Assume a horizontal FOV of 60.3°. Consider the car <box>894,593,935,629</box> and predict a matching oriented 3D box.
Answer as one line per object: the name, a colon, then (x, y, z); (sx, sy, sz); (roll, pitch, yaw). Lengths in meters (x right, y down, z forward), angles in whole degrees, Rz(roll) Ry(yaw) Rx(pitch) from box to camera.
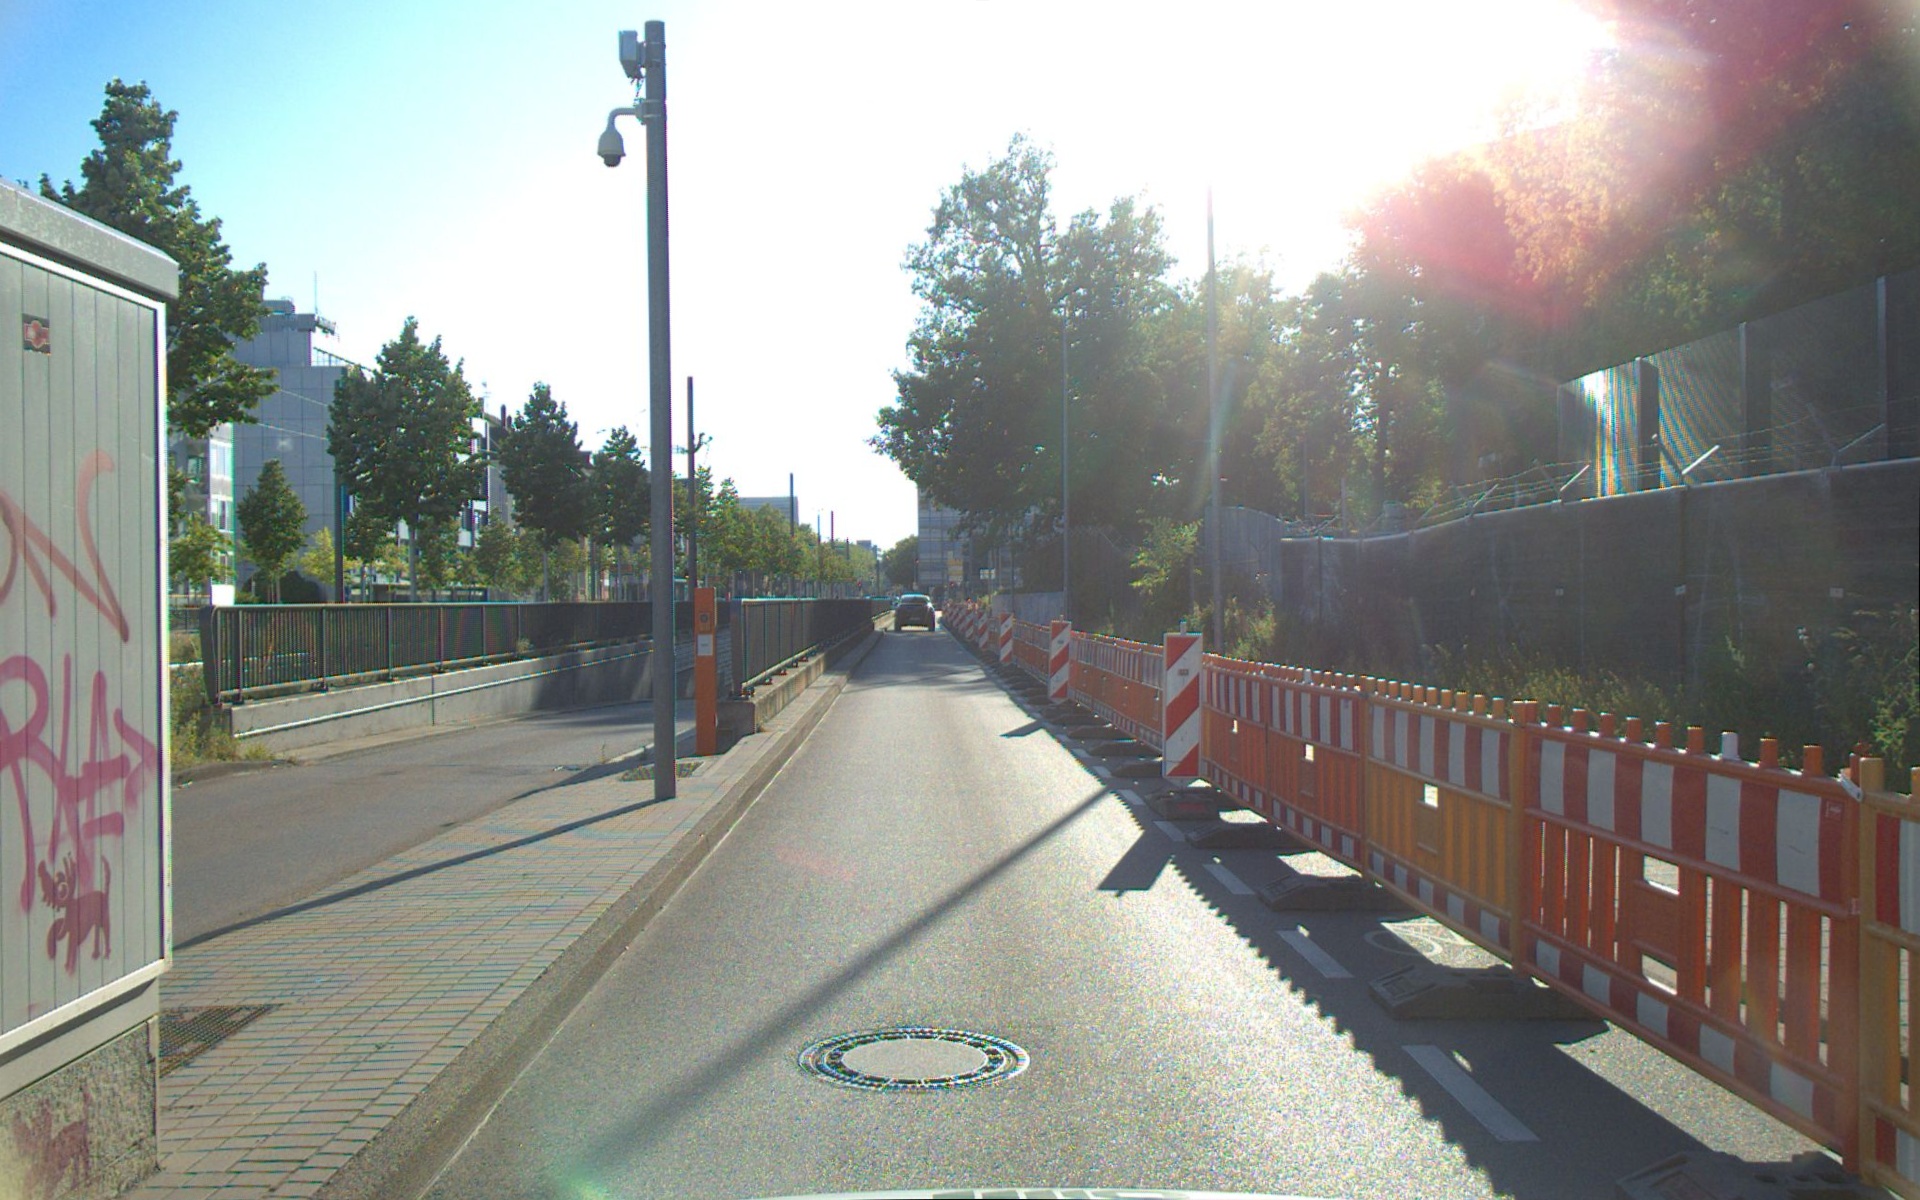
car: (-2.206, 0.552, 81.178); (1.964, 1.688, 3.999); (1, 0, -1)
